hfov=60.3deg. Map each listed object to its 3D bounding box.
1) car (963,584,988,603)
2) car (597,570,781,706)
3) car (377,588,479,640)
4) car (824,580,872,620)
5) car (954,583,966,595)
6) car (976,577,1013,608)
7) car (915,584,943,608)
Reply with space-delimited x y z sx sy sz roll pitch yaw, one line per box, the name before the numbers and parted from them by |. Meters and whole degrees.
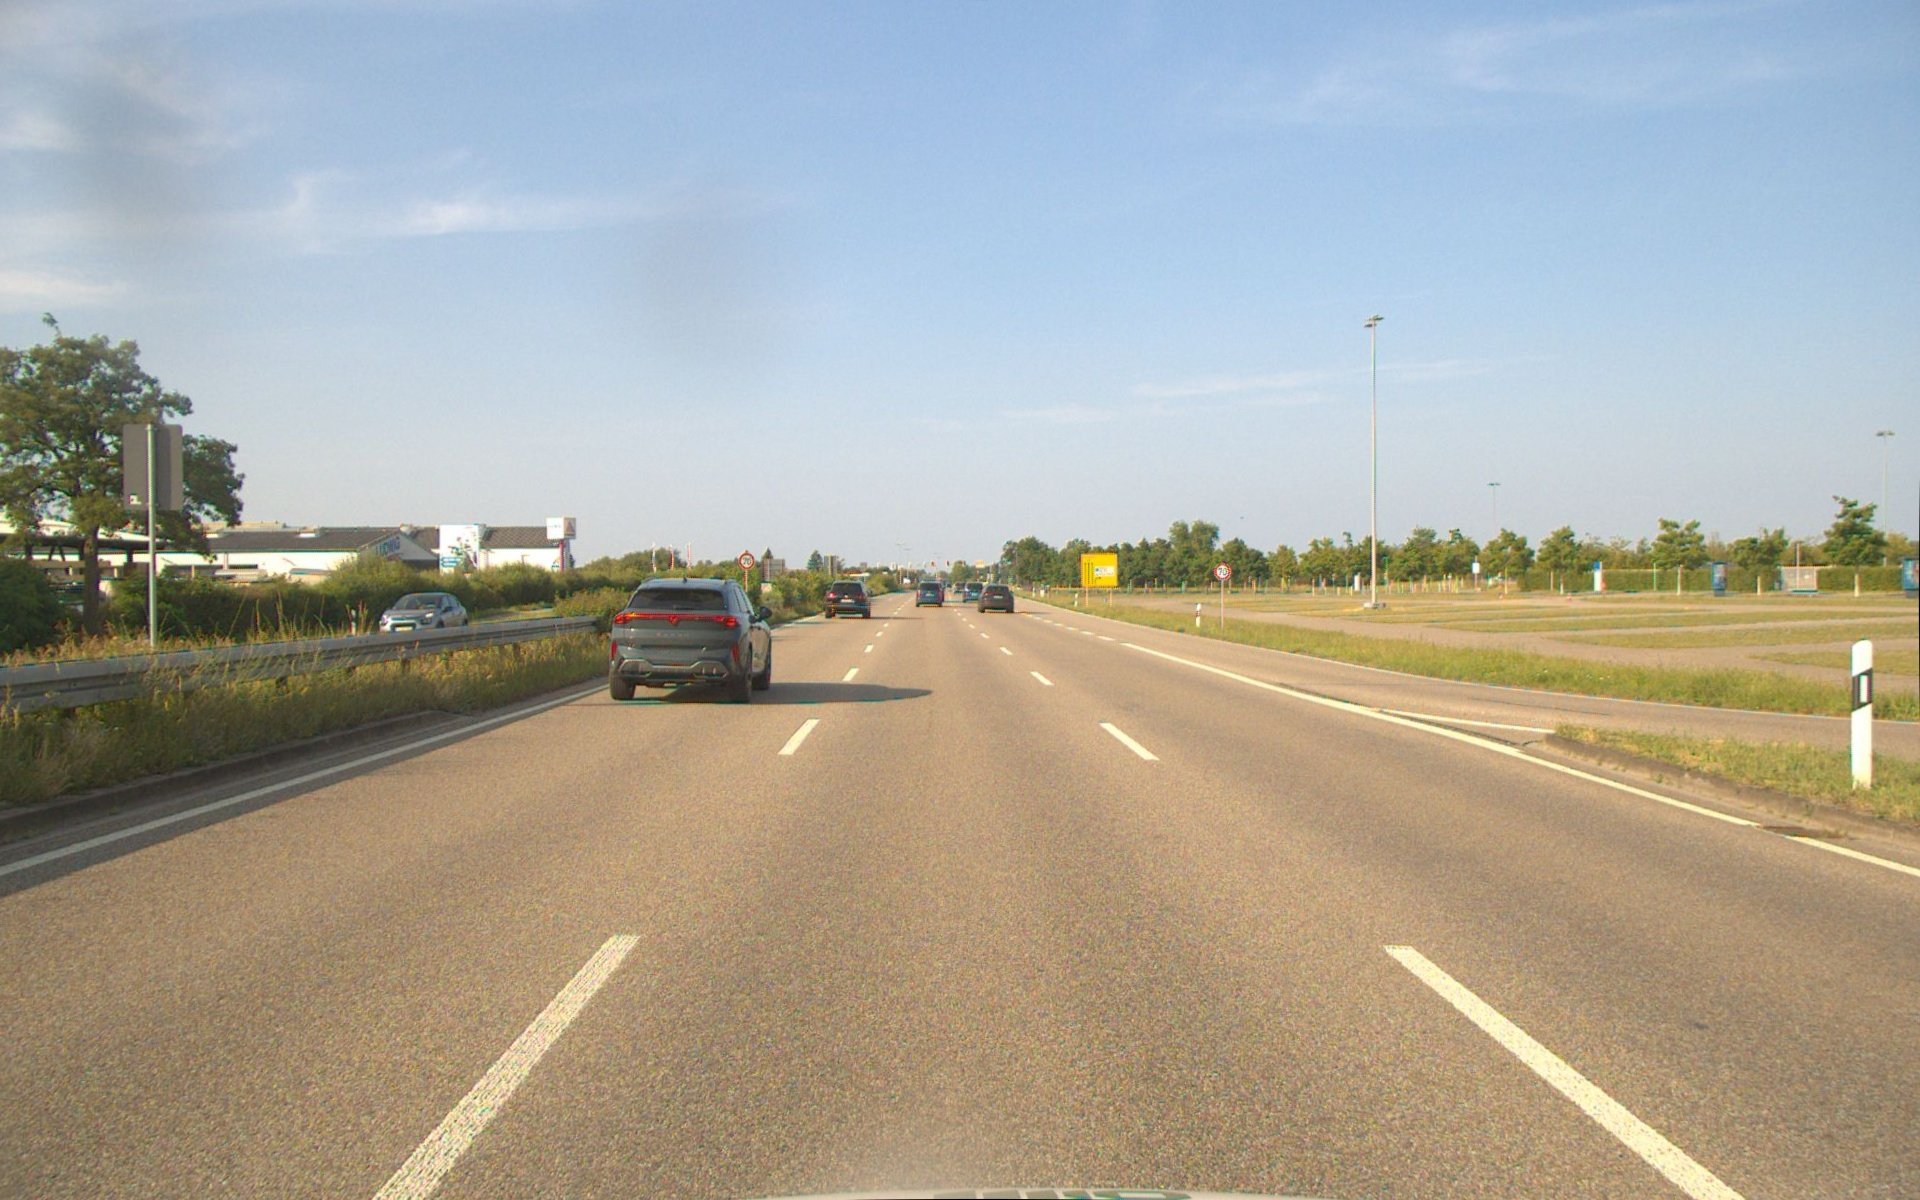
car | 1.204 -0.535 132.283 1.835 1.488 3.980 2 1 -1
car | -3.628 0.448 22.895 1.808 1.640 4.400 2 1 -1
car | -15.738 0.392 49.119 1.743 1.449 4.000 -1 0 0
car | -5.095 -0.035 75.517 1.893 1.709 4.400 2 1 -1
car | 0.016 -1.358 203.609 1.472 1.336 3.155 2 1 -1
car | 1.967 -0.439 95.001 1.893 1.709 4.400 2 1 -1
car | -2.042 -0.283 110.435 1.776 1.488 4.400 2 1 -1
